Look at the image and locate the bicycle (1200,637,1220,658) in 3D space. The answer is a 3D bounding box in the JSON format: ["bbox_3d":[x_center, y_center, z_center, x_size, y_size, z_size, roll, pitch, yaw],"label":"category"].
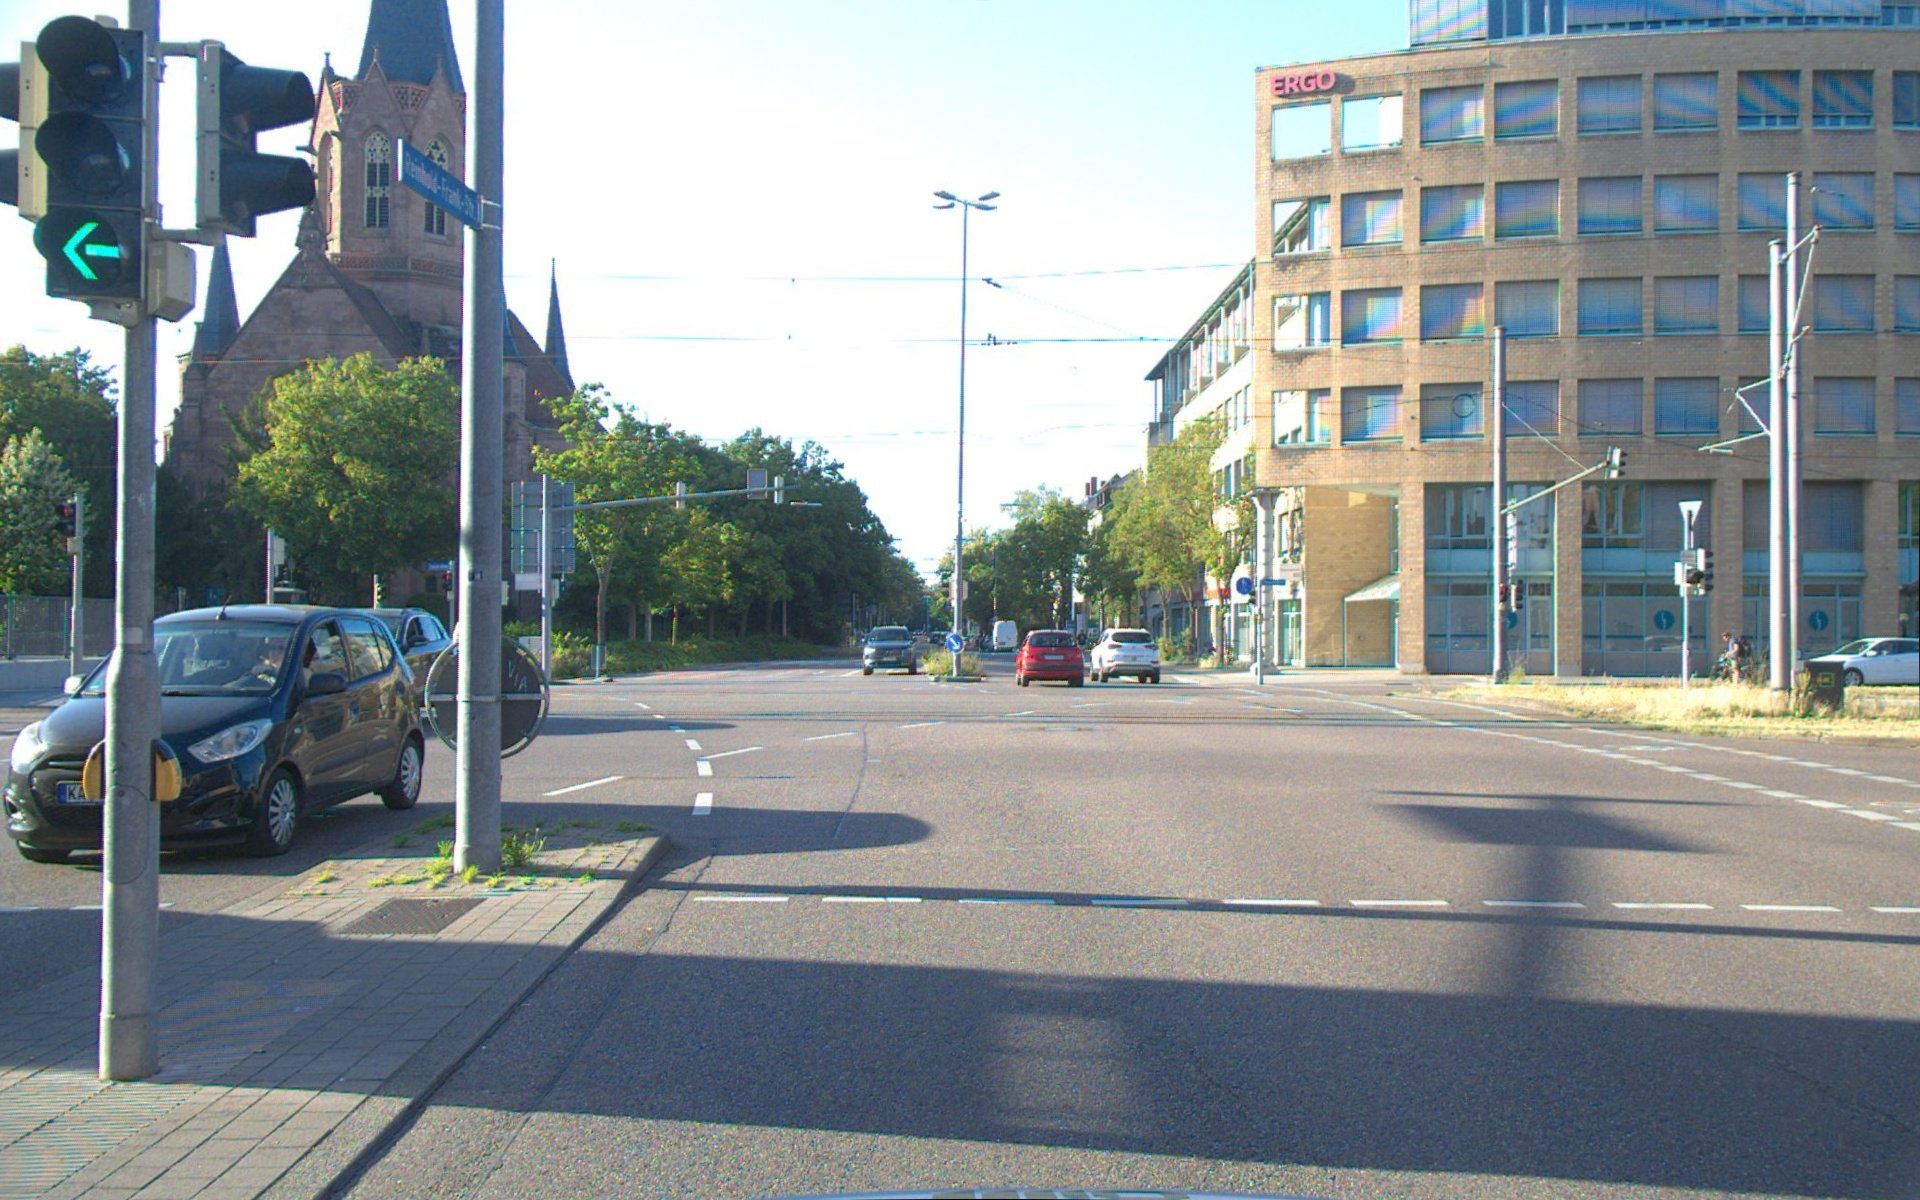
[{"bbox_3d":[12.192,2.314,80.830,0.633,1.012,2.080,0,-1,-1],"label":"bicycle"}]

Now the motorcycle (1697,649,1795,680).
[{"bbox_3d":[25.021,2.047,52.687,2.663,0.981,1.031,0,-1,-2],"label":"motorcycle"}]

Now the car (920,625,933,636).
[{"bbox_3d":[-4.962,4.539,246.876,1.848,1.700,3.999,1,-1,0],"label":"car"}]

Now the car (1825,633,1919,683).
[{"bbox_3d":[30.380,1.848,52.870,4.390,1.564,1.986,0,-1,0],"label":"car"}]

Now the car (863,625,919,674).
[{"bbox_3d":[-2.544,1.857,61.749,1.953,1.754,5.029,0,-2,-1],"label":"car"}]

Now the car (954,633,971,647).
[{"bbox_3d":[0.211,3.613,149.394,1.562,1.289,3.266,0,-1,0],"label":"car"}]

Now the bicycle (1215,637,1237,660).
[{"bbox_3d":[12.257,2.235,76.167,0.633,1.012,2.080,0,-1,-1],"label":"bicycle"}]

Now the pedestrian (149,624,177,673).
[{"bbox_3d":[-28.853,1.745,59.874,0.831,1.726,1.009,2,-1,-24],"label":"pedestrian"}]

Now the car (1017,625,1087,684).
[{"bbox_3d":[2.450,1.440,44.867,1.636,1.488,3.999,1,-1,0],"label":"car"}]

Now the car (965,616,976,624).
[{"bbox_3d":[1.568,3.027,251.337,1.562,1.289,3.266,0,-1,0],"label":"car"}]

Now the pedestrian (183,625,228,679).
[{"bbox_3d":[-24.833,1.695,54.423,0.993,1.726,0.844,1,-1,24],"label":"pedestrian"}]

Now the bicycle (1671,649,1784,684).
[{"bbox_3d":[23.248,2.007,50.153,2.901,1.018,1.153,0,-1,-2],"label":"bicycle"}]

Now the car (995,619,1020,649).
[{"bbox_3d":[4.020,2.853,140.447,1.953,2.483,3.999,1,-1,0],"label":"car"}]

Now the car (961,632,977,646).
[{"bbox_3d":[0.902,3.779,161.280,1.562,1.289,3.266,0,-1,0],"label":"car"}]

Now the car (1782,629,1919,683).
[{"bbox_3d":[26.236,1.608,47.704,4.079,1.518,1.994,0,-1,-3],"label":"car"}]

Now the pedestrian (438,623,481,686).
[{"bbox_3d":[-14.205,1.554,46.972,0.945,1.770,0.812,0,-1,1],"label":"pedestrian"}]

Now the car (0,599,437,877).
[{"bbox_3d":[-4.895,0.807,11.295,1.545,1.571,3.476,-1,0,-1],"label":"car"}]

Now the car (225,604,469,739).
[{"bbox_3d":[-8.013,0.871,22.033,1.758,1.593,4.146,0,0,-1],"label":"car"}]

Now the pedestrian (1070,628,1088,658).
[{"bbox_3d":[8.049,2.872,111.688,1.085,2.011,1.161,0,-1,-1],"label":"pedestrian"}]

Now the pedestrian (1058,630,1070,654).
[{"bbox_3d":[7.945,3.212,126.552,0.830,1.835,0.775,0,-1,-1],"label":"pedestrian"}]

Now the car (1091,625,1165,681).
[{"bbox_3d":[5.261,1.635,52.272,1.877,1.635,4.268,1,-1,0],"label":"car"}]

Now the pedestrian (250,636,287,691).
[{"bbox_3d":[-22.263,2.045,53.267,0.878,1.726,0.707,1,-2,36],"label":"pedestrian"}]

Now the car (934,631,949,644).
[{"bbox_3d":[-1.968,3.986,175.636,1.562,1.289,3.266,0,-1,0],"label":"car"}]

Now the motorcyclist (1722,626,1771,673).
[{"bbox_3d":[25.059,1.579,52.700,1.043,1.461,1.031,0,-1,-1],"label":"motorcyclist"}]

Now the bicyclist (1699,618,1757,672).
[{"bbox_3d":[23.295,1.356,50.182,1.198,1.599,1.153,0,-1,-2],"label":"bicyclist"}]
